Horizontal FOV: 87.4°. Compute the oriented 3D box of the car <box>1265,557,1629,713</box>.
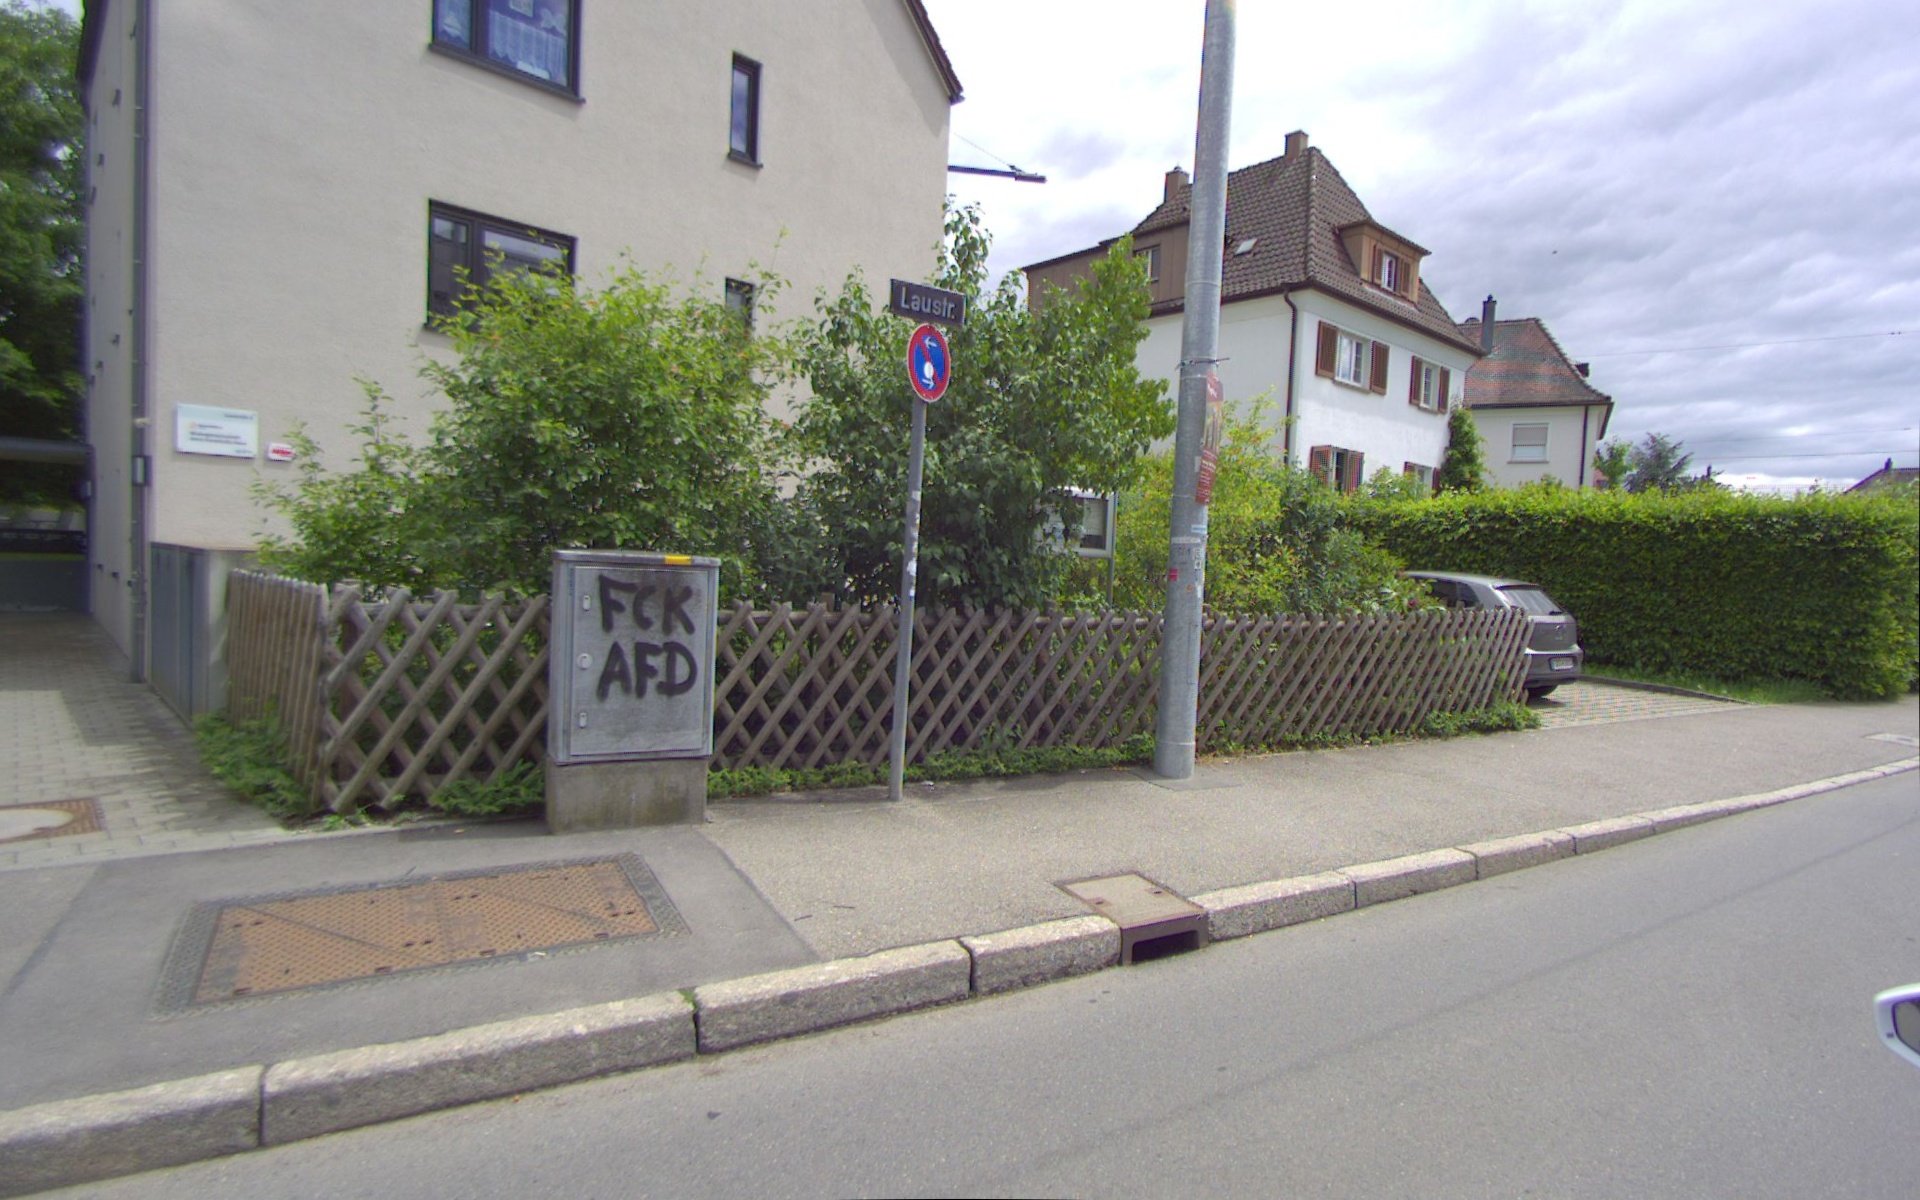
[{"bbox_3d":[5.933,0.336,12.653,1.797,1.453,3.651,2,4,-32],"label":"car"}]
